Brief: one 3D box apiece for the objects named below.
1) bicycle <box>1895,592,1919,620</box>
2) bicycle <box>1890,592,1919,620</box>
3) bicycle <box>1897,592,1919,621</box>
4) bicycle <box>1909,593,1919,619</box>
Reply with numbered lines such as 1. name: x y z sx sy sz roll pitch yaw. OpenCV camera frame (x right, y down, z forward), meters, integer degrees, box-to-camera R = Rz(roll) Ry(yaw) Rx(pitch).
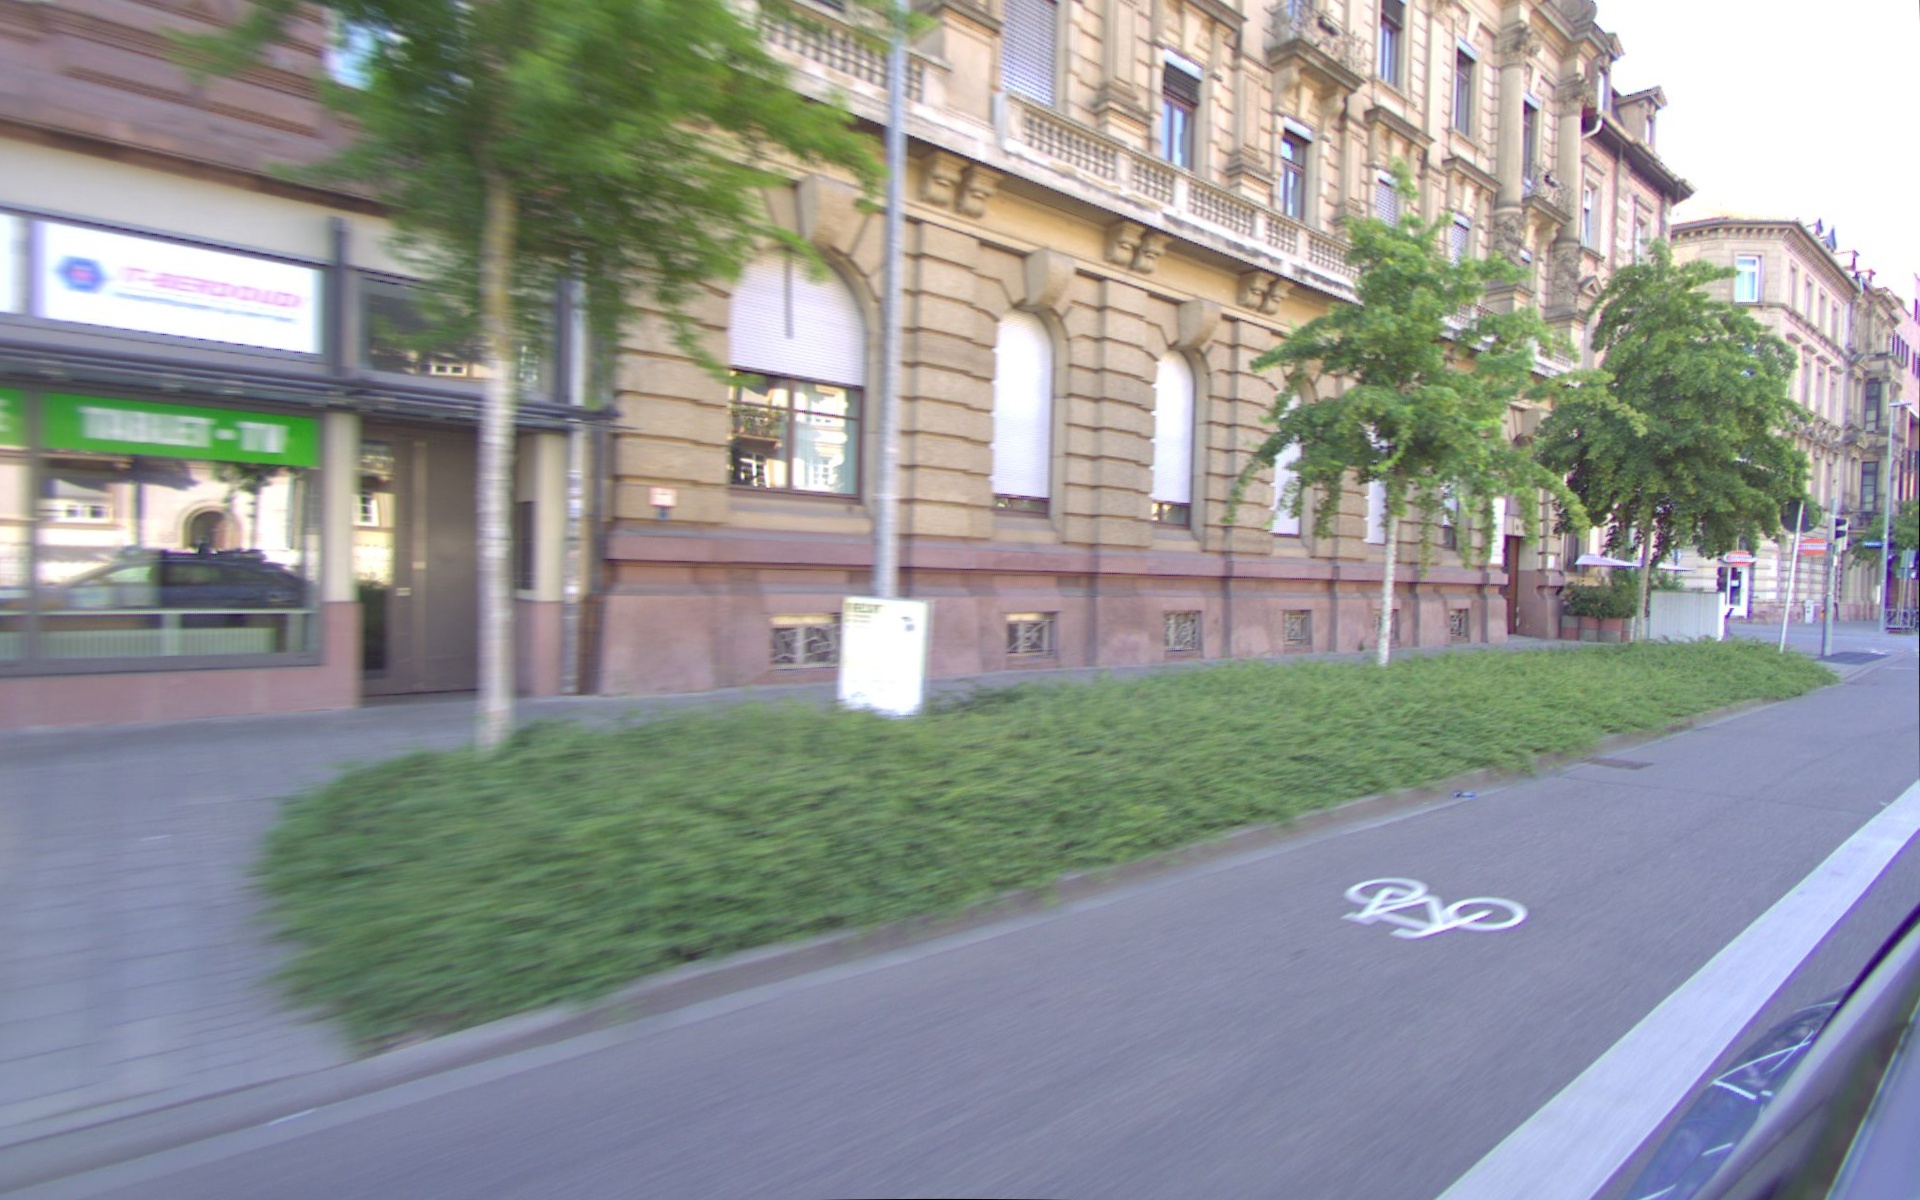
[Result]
1. bicycle: 38.491 0.293 40.244 0.653 1.077 1.828 1 4 -44
2. bicycle: 39.316 0.289 41.383 0.653 1.077 1.828 1 4 -44
3. bicycle: 37.532 0.292 39.130 0.653 1.077 1.828 1 4 -44
4. bicycle: 40.629 0.317 41.906 0.653 1.077 1.828 1 4 -44
